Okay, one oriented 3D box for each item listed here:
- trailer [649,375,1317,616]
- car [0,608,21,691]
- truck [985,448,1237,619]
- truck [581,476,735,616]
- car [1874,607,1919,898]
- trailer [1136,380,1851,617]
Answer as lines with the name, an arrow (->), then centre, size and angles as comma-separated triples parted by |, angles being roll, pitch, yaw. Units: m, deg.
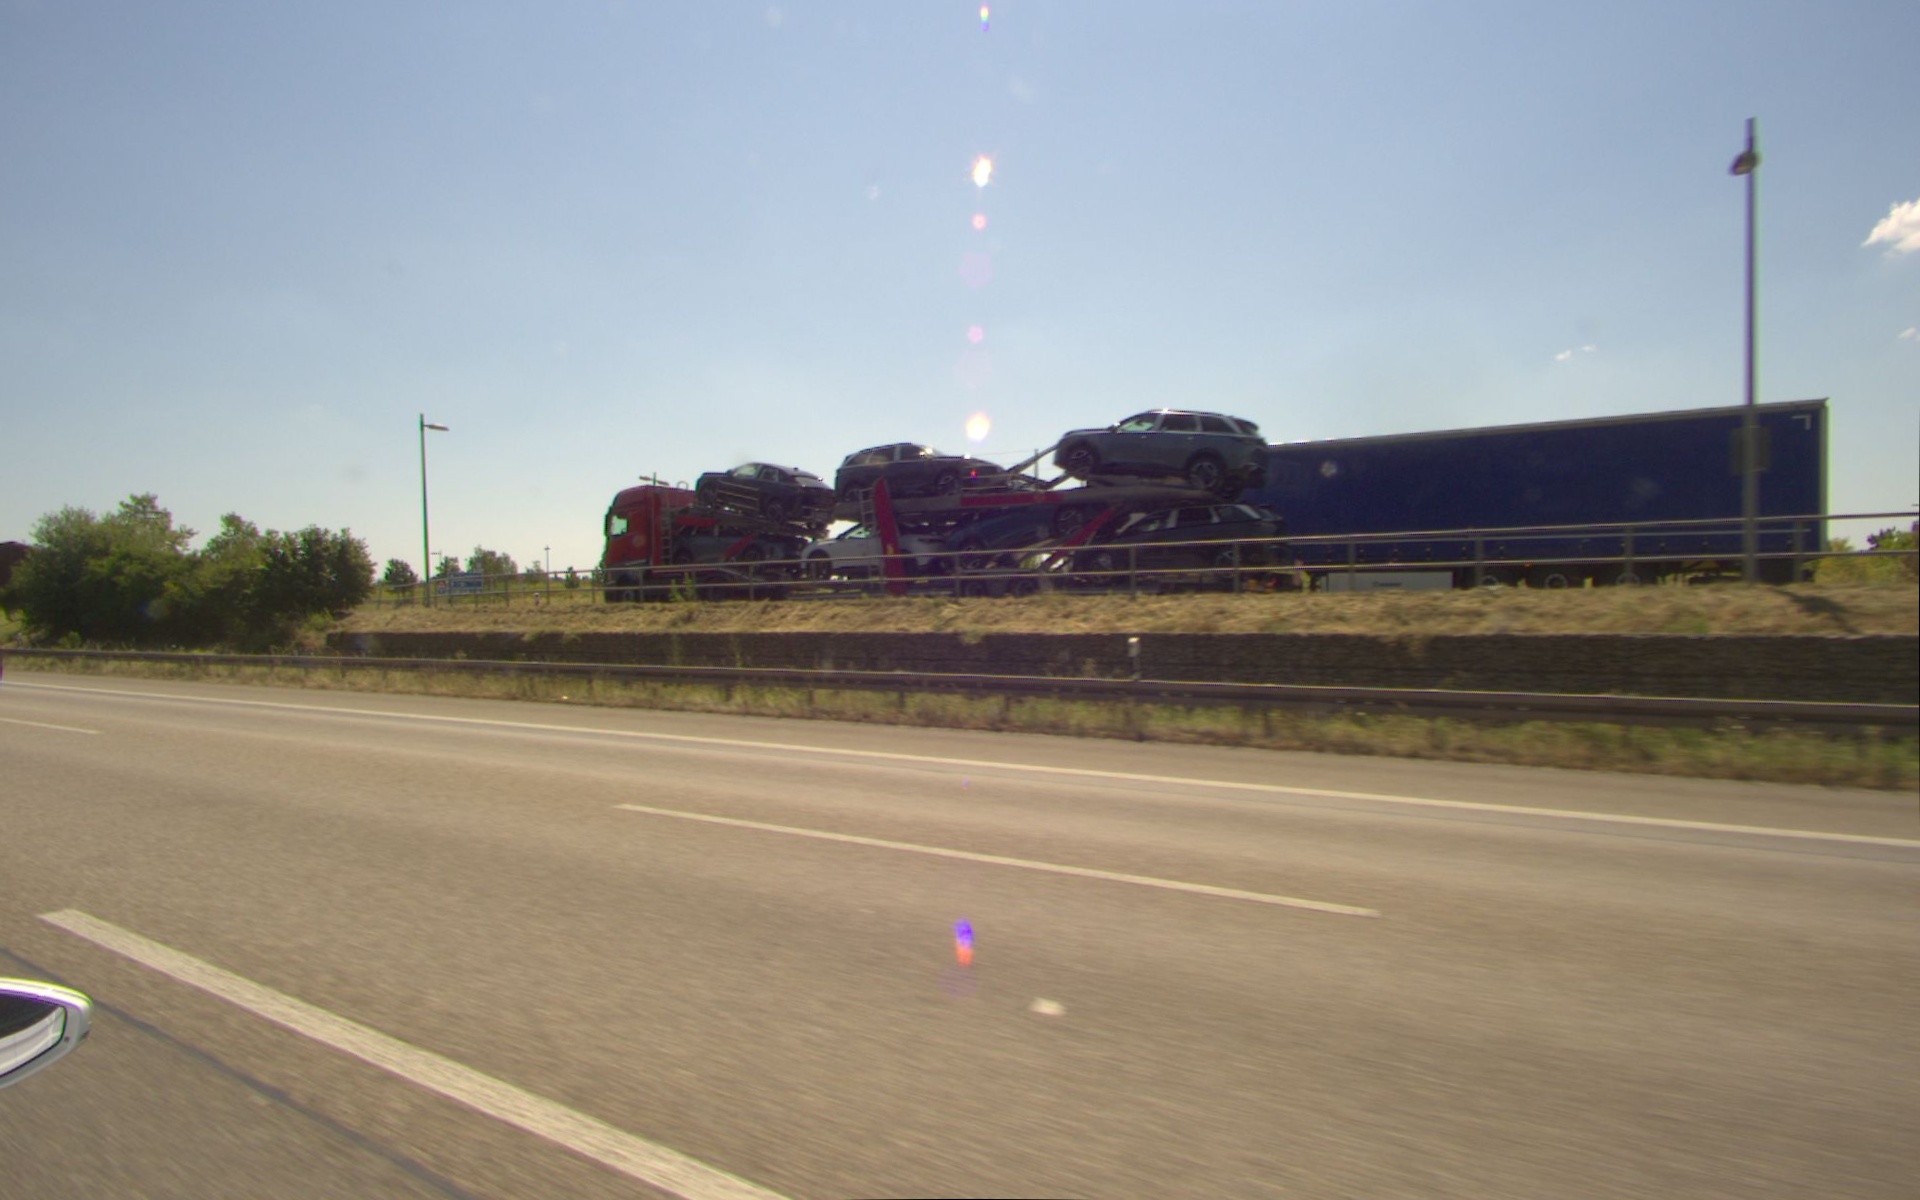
trailer -> -0.695, -1.917, 25.268 | 18.162, 4.311, 2.601 | -2, -2, 33
car -> -23.585, 1.152, 22.916 | 4.116, 1.862, 1.948 | -2, 0, 30
truck -> 4.173, -1.613, 28.053 | 6.306, 4.134, 3.048 | -1, -2, 32
truck -> -9.275, -1.514, 30.790 | 3.943, 3.875, 2.598 | -1, -2, 32
car -> 7.366, 0.818, 4.487 | 4.520, 1.657, 1.865 | -1, -2, 32
trailer -> 11.336, -1.815, 23.627 | 14.053, 4.134, 3.048 | -2, -2, 32
